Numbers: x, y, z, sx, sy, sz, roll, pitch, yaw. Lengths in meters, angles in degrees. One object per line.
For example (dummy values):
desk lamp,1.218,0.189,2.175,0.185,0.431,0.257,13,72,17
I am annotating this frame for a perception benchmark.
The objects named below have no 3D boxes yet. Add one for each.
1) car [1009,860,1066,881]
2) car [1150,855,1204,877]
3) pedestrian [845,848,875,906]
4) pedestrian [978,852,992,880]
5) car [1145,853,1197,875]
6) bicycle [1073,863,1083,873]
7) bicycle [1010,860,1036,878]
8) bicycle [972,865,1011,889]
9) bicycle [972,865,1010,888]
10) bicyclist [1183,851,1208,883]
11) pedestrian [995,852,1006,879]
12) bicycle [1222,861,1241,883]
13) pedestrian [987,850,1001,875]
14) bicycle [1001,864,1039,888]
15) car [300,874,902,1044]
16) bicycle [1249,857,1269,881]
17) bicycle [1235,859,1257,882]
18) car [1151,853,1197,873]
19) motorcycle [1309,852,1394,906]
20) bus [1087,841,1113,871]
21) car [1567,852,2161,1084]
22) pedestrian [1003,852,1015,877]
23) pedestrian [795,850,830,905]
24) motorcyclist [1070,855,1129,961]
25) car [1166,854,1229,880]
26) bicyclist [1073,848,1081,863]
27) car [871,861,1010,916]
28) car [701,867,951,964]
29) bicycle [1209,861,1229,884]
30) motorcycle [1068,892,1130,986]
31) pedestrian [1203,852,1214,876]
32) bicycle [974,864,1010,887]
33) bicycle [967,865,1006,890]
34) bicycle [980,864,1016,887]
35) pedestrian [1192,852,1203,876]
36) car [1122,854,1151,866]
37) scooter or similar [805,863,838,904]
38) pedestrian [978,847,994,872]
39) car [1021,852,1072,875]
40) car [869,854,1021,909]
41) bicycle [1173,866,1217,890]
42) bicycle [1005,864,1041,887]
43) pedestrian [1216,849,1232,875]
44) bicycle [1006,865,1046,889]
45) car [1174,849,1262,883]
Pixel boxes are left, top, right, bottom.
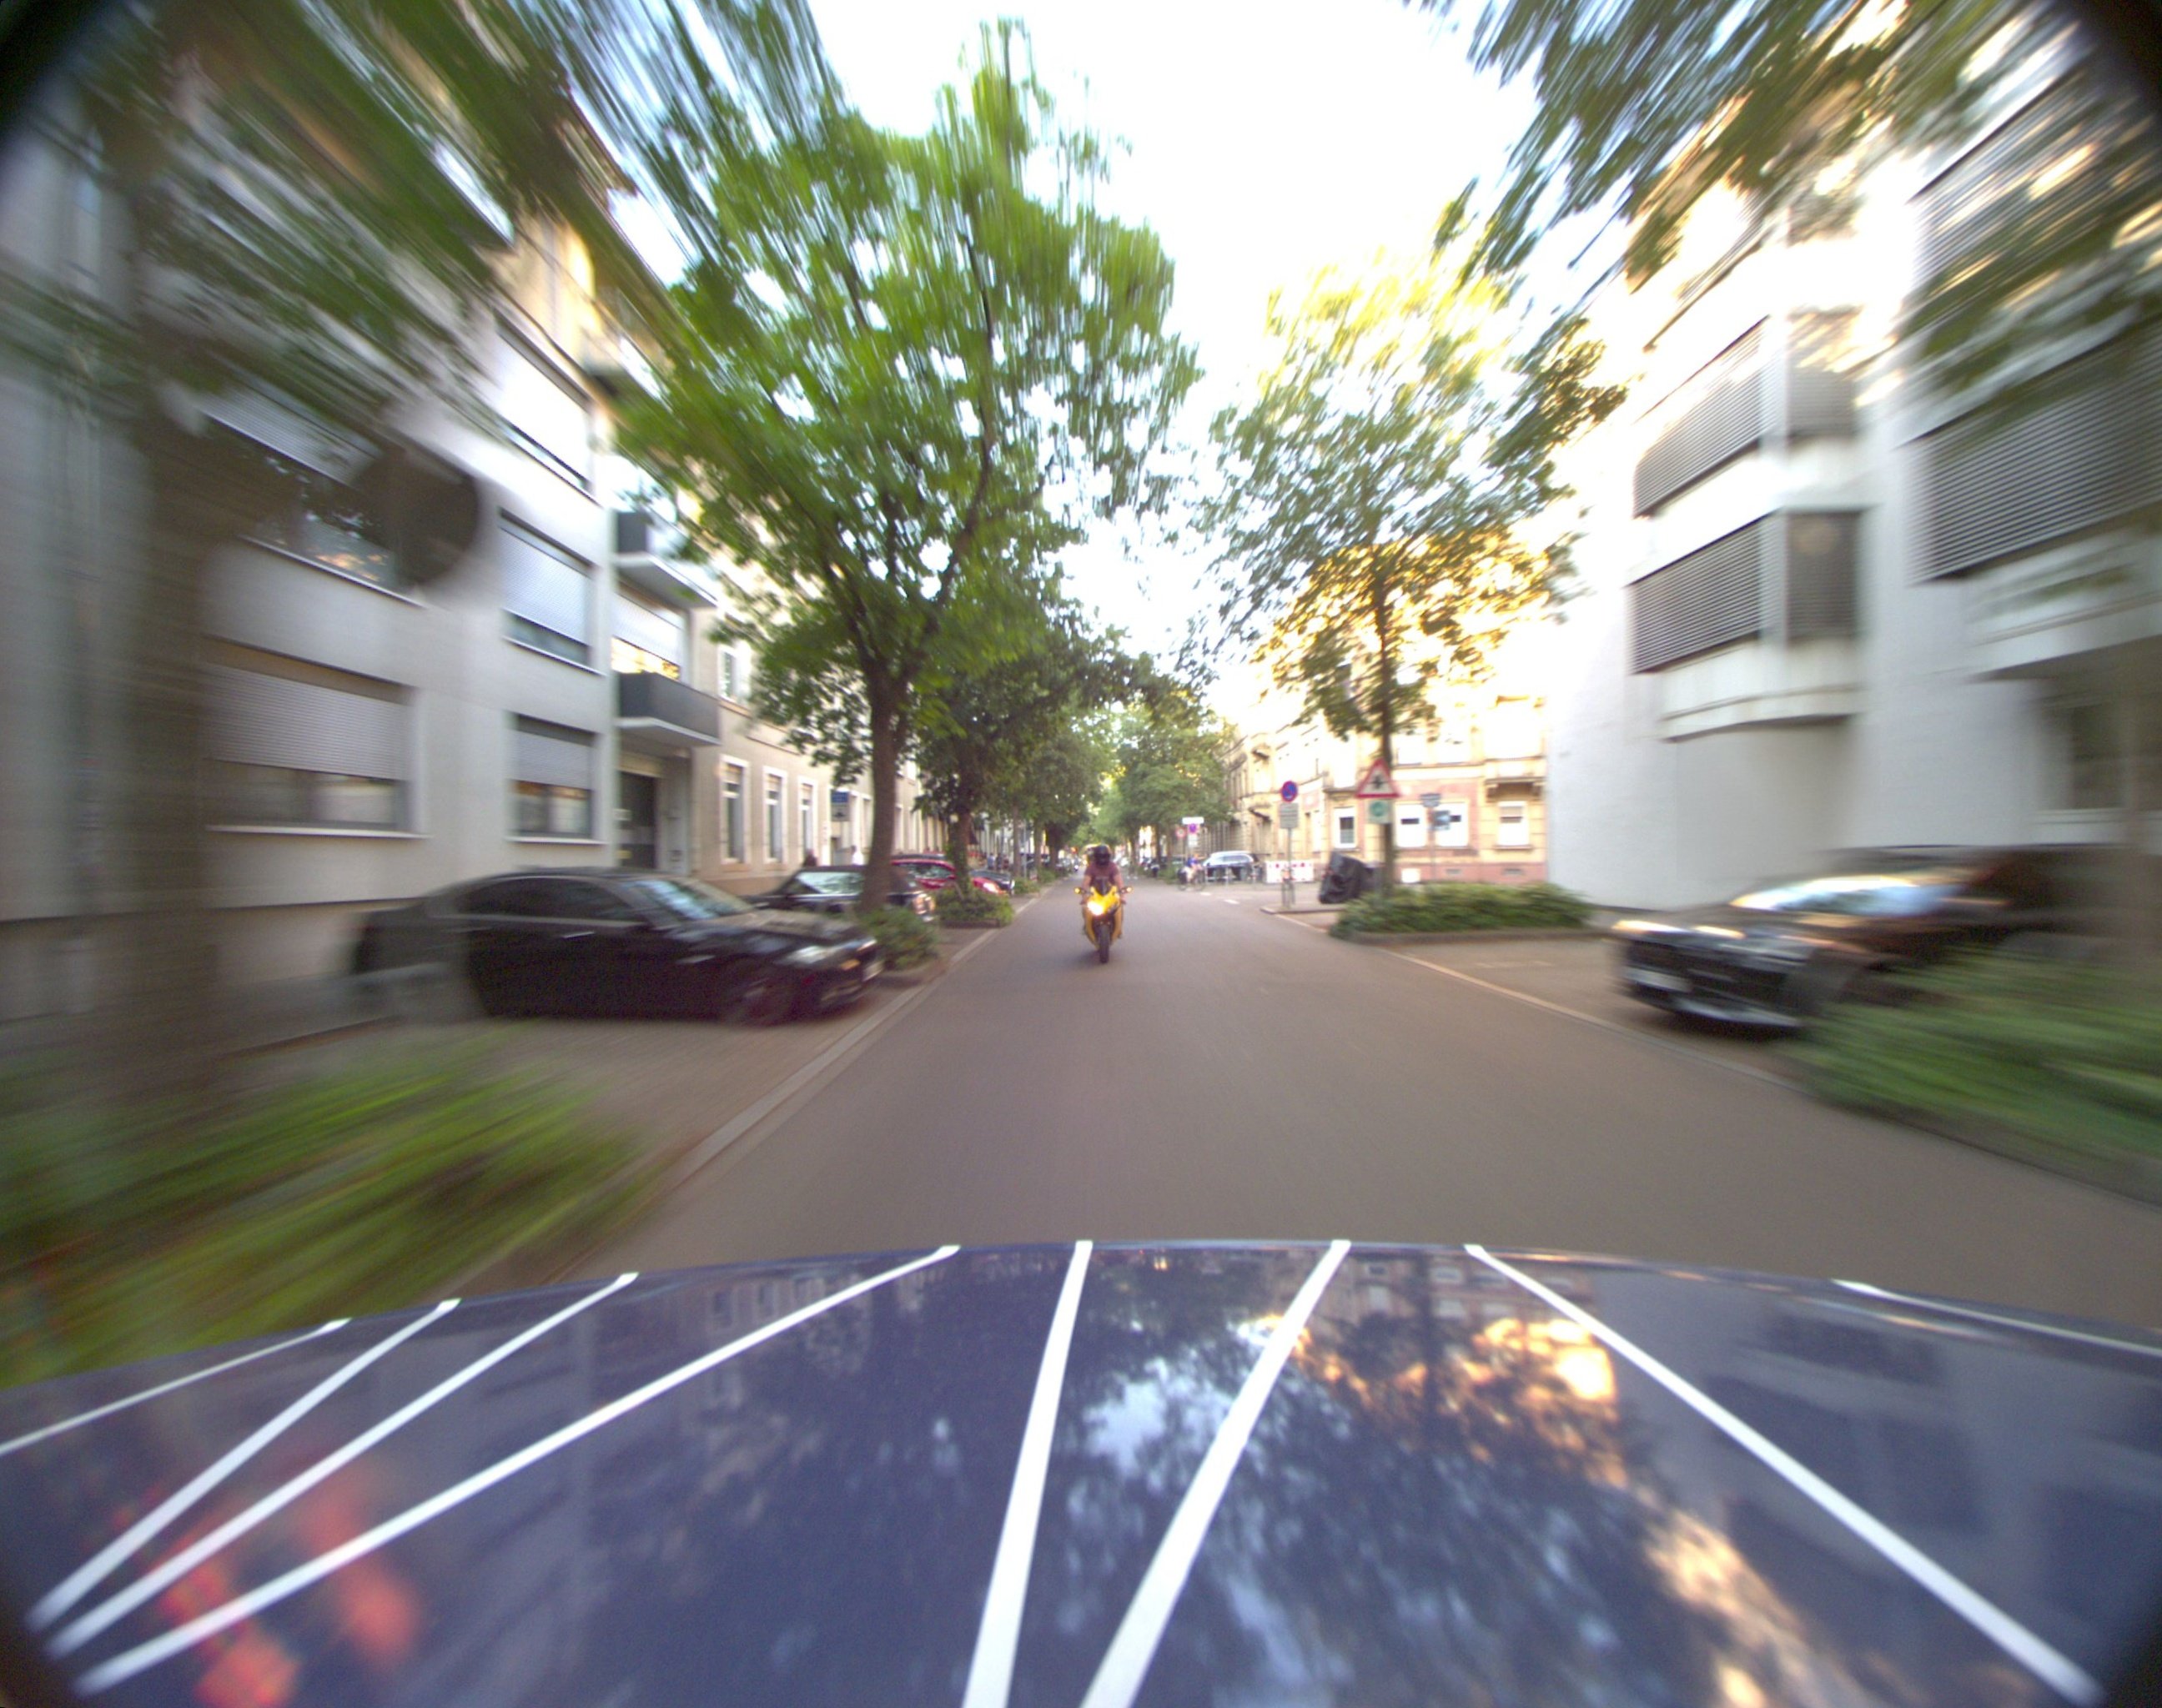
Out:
car,-3.386,1.278,59.694,4.412,1.385,1.885,2,0,-1
car,7.383,0.897,58.590,3.954,1.523,1.908,-2,0,3
pedestrian,-6.681,0.680,22.959,0.693,1.727,0.672,0,0,-30
pedestrian,-6.129,0.755,48.395,0.779,1.728,0.683,1,-1,-15
car,7.713,0.883,65.265,4.211,1.662,1.908,-3,-1,1
bicycle,-0.306,1.475,77.908,0.637,0.977,1.980,-3,-1,-8
bicycle,-4.141,1.071,54.230,1.800,1.225,0.673,2,0,-9
bicycle,-4.276,1.096,36.397,1.799,1.101,0.500,0,0,-4
bicycle,-4.371,1.089,36.919,1.799,1.101,0.500,0,0,-4
bicyclist,5.062,0.583,33.544,0.675,1.355,0.774,-3,0,-38
pedestrian,-5.368,0.772,50.538,0.616,1.728,0.623,1,-1,1
bicycle,7.549,0.886,38.214,0.523,1.013,1.861,-4,2,1
pedestrian,-5.988,0.600,52.355,0.712,1.728,0.749,1,-1,21
bicycle,-2.998,1.081,37.272,1.834,1.171,0.601,0,0,0
car,-4.401,0.933,7.585,4.723,1.413,2.036,0,0,1
bicycle,8.968,0.746,38.256,0.518,1.101,1.861,-4,2,1
bicycle,8.294,0.812,38.175,0.670,1.056,1.861,-4,2,1
car,8.280,0.806,67.883,3.810,1.662,1.714,-3,-1,0
motorcycle,7.847,0.716,22.038,2.217,1.473,0.858,-1,-1,-17
bus,2.081,0.234,88.713,2.668,3.175,11.899,-3,0,0
car,6.698,0.794,6.246,4.138,1.477,1.929,-2,0,0
pedestrian,-5.030,0.759,52.791,0.708,1.728,0.726,1,-1,-12
pedestrian,-7.563,0.659,21.420,0.656,1.527,0.831,0,0,2
motorcyclist,0.266,0.733,10.615,0.737,1.404,0.726,-2,0,2
car,7.459,0.825,48.708,3.701,1.449,1.873,-3,-1,0
bicyclist,-0.388,0.157,77.906,0.637,1.551,0.818,-3,-1,-8
car,-3.808,0.930,21.074,3.492,1.444,1.899,0,0,-1
car,-4.041,0.959,12.524,3.492,1.444,1.899,0,0,-1
bicycle,6.935,0.919,38.192,0.523,1.053,1.861,-4,2,-1
motorcycle,0.271,1.117,10.494,0.737,1.053,1.964,-2,0,2
pedestrian,9.514,0.726,56.806,0.736,1.728,0.671,-2,0,7
bicycle,-4.430,1.071,37.771,1.800,1.136,0.651,0,0,-8
bicycle,-4.462,1.085,35.715,1.800,1.136,0.668,0,0,-8
bicycle,-4.227,1.086,38.585,1.799,1.122,0.664,0,0,-5
pedestrian,8.648,0.743,56.541,0.736,1.728,0.671,-2,0,7
car,8.061,0.872,110.704,4.180,1.548,1.827,-2,0,3
scooter or similar,-7.545,0.846,22.103,0.656,1.146,0.831,0,0,2
pedestrian,-6.461,0.380,51.563,0.725,1.728,0.746,1,-1,28
car,-3.253,0.874,72.226,4.701,1.999,2.037,2,0,0
car,-4.244,0.851,24.244,4.436,1.646,1.900,-1,0,2
bicycle,5.039,1.075,33.589,0.675,1.024,1.972,-3,-1,-37
bicycle,-3.007,1.102,39.477,1.834,1.171,0.673,0,0,0
pedestrian,9.809,0.554,52.087,0.832,1.727,0.796,0,0,-15
bicycle,-2.595,1.092,35.938,1.843,1.129,0.744,0,0,-9
car,7.399,0.655,41.333,4.436,1.641,1.873,-3,-1,2
